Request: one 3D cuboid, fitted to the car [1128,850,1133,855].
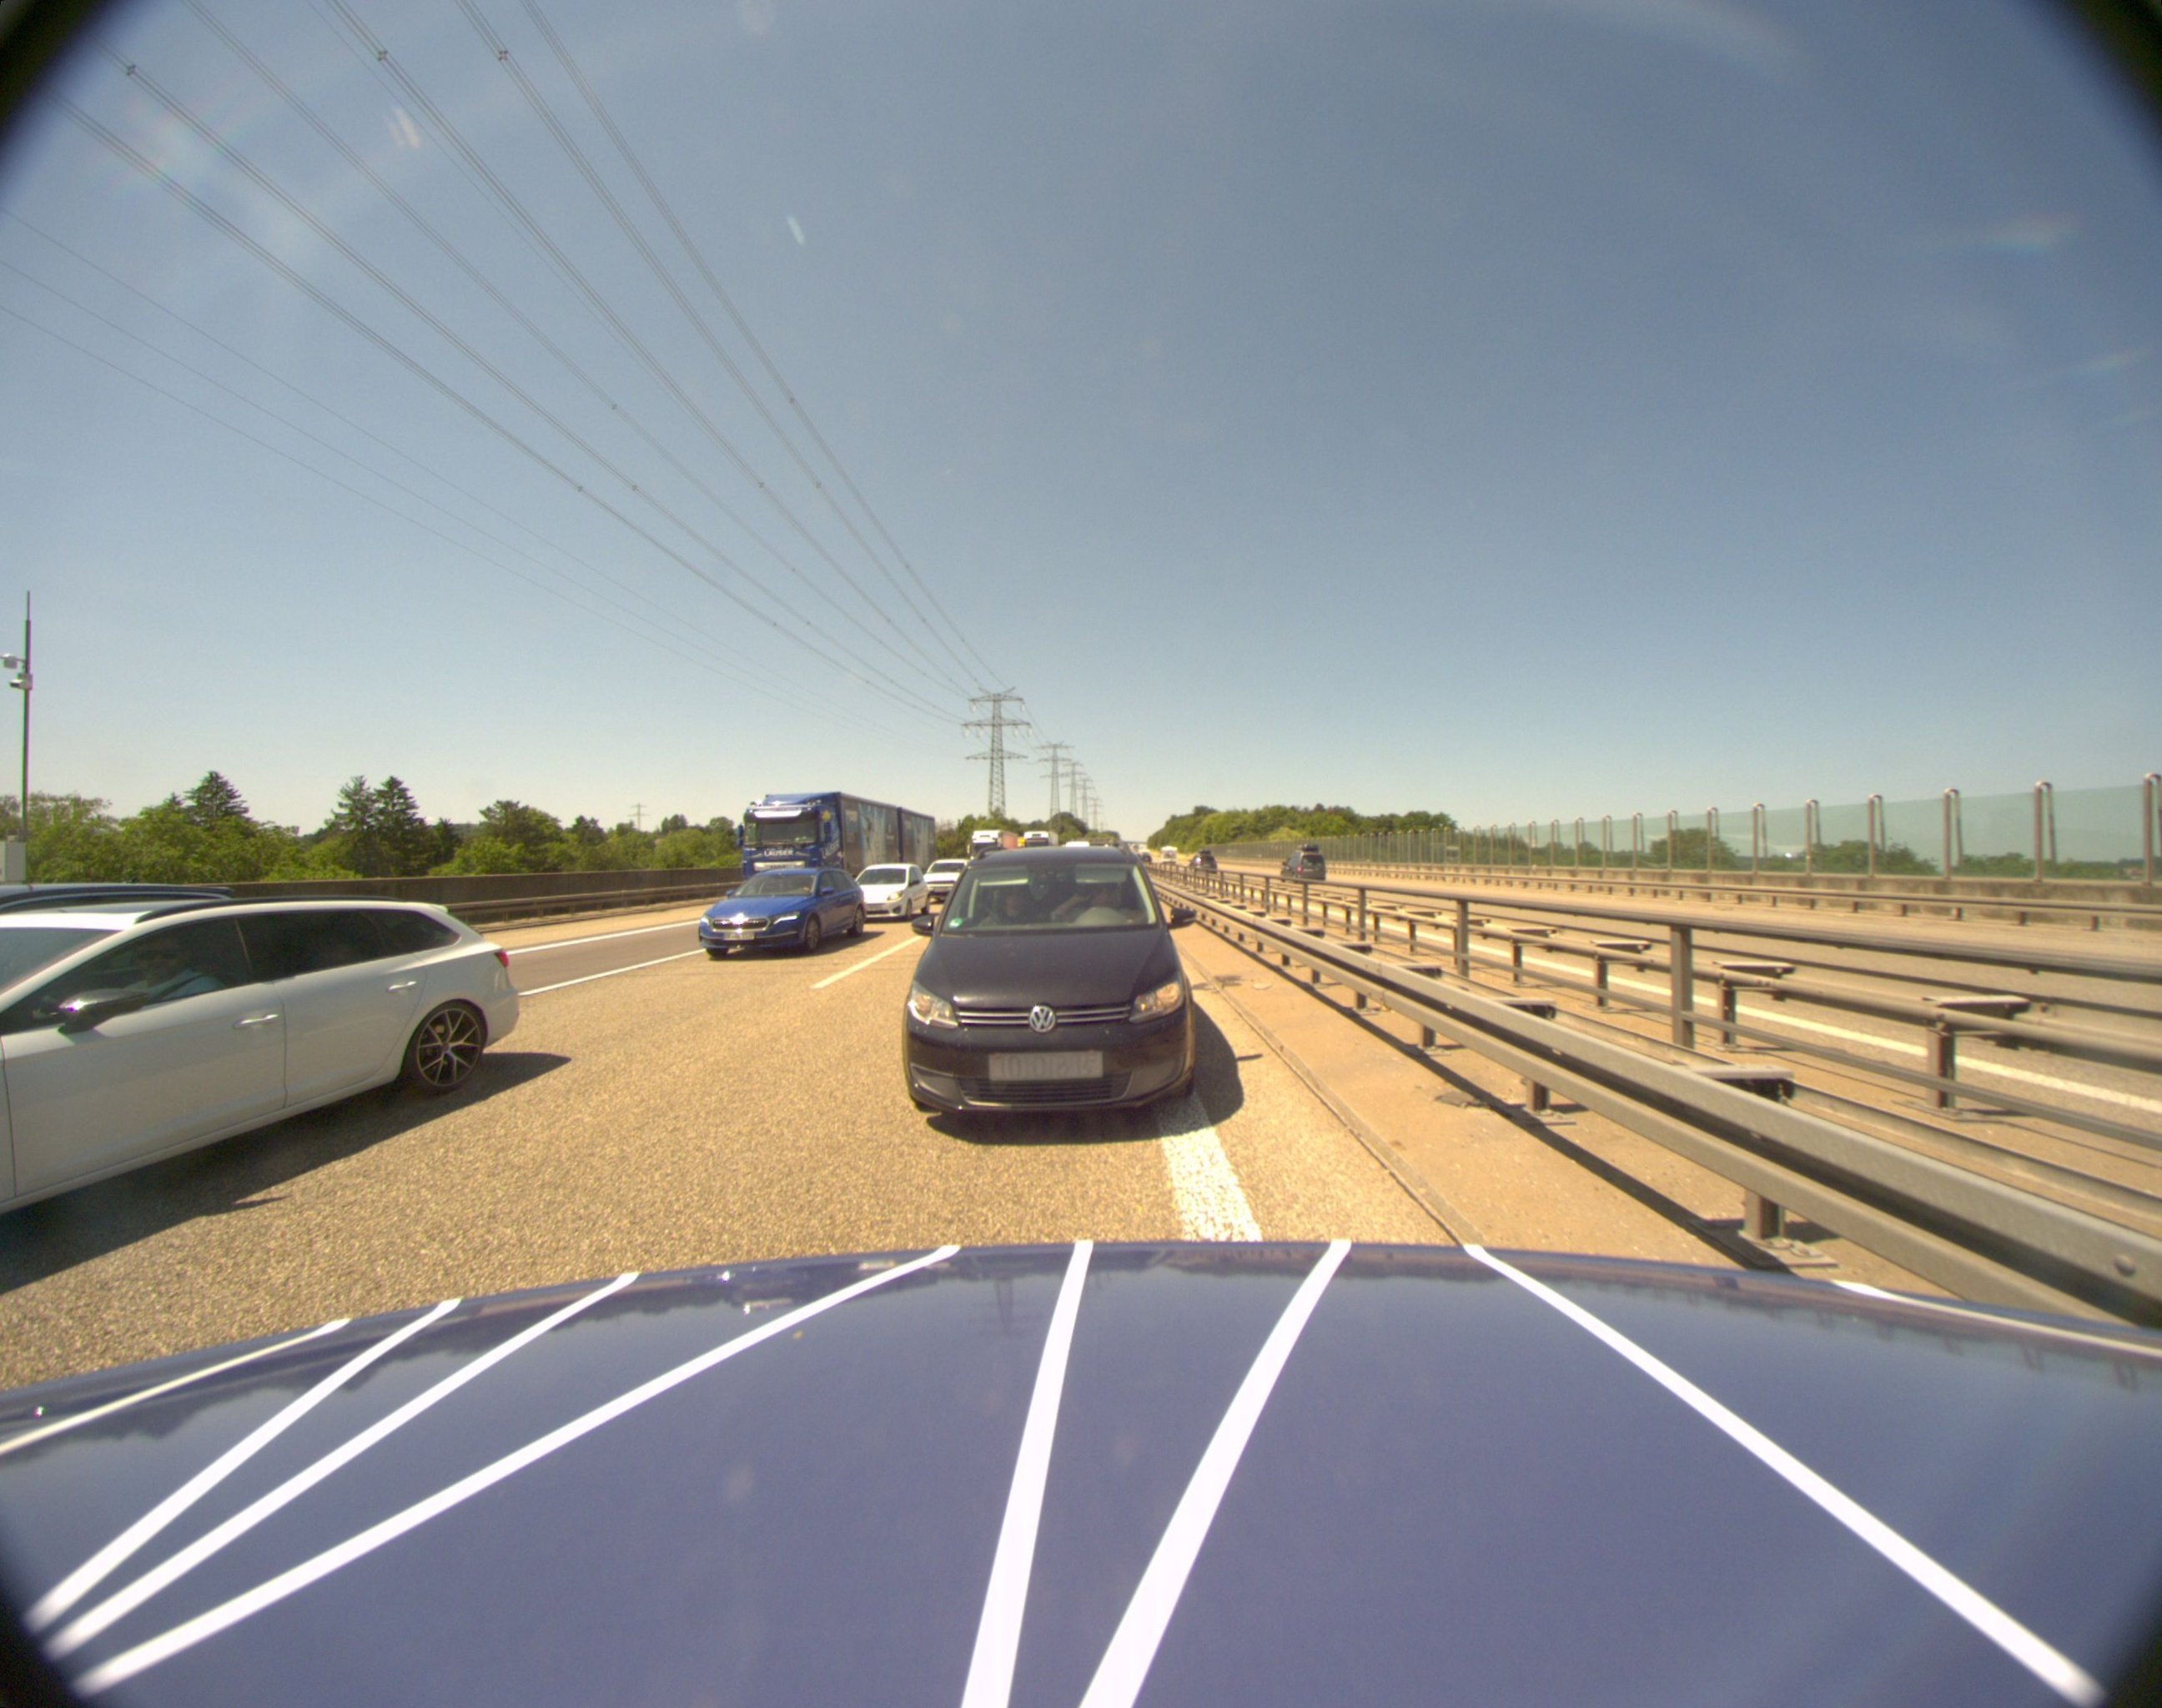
[{"bbox_3d":[16.496,-0.410,252.969,1.672,1.439,4.000,2,0,2],"label":"car"}]

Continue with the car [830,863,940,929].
[{"bbox_3d":[-5.140,1.048,20.485,1.762,1.495,4.095,-1,0,2],"label":"car"}]

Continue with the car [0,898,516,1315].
[{"bbox_3d":[-5.251,1.123,3.764,1.843,1.481,4.071,-2,0,-1],"label":"car"}]

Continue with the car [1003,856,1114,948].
[{"bbox_3d":[-0.349,0.819,15.070,1.845,1.495,4.377,-1,0,1],"label":"car"}]

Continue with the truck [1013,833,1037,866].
[{"bbox_3d":[-7.472,-0.612,101.972,2.346,4.058,8.278,-2,1,1],"label":"truck"}]

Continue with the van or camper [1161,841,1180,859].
[{"bbox_3d":[15.113,-0.671,129.137,2.428,3.006,7.026,1,0,1],"label":"van or camper"}]

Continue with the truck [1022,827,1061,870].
[{"bbox_3d":[-3.758,-0.538,75.007,2.980,3.832,10.561,-2,1,1],"label":"truck"}]

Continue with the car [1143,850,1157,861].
[{"bbox_3d":[11.215,0.266,123.380,1.872,1.690,4.430,1,0,0],"label":"car"}]

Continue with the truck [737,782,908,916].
[{"bbox_3d":[-9.139,-0.182,28.556,2.529,4.043,10.447,-1,0,1],"label":"truck"}]

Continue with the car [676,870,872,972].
[{"bbox_3d":[-5.361,1.090,13.937,1.739,1.437,4.211,-1,0,2],"label":"car"}]

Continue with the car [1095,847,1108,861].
[{"bbox_3d":[3.186,-0.039,119.336,1.998,2.002,4.000,-2,1,1],"label":"car"}]

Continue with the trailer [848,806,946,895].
[{"bbox_3d":[-8.933,-0.169,38.053,2.572,3.922,8.479,-1,0,1],"label":"trailer"}]

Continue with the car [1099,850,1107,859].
[{"bbox_3d":[4.919,0.073,171.124,1.805,2.002,4.000,-1,0,1],"label":"car"}]

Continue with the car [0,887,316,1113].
[{"bbox_3d":[-8.692,1.138,5.657,1.740,1.518,4.106,-2,0,1],"label":"car"}]

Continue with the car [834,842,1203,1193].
[{"bbox_3d":[-0.290,0.785,5.704,1.740,1.652,3.999,-2,1,0],"label":"car"}]

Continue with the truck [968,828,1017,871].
[{"bbox_3d":[-8.042,-0.396,70.236,2.985,3.538,10.967,-2,1,1],"label":"truck"}]

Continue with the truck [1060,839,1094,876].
[{"bbox_3d":[-0.215,0.207,55.211,2.284,2.479,5.861,-2,0,1],"label":"truck"}]

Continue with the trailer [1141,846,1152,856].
[{"bbox_3d":[17.631,-0.868,204.745,2.499,2.534,6.774,1,0,1],"label":"trailer"}]

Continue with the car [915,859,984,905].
[{"bbox_3d":[-4.726,0.976,27.812,1.763,1.495,4.094,-1,0,0],"label":"car"}]

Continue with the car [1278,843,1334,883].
[{"bbox_3d":[13.061,0.493,44.401,1.998,2.203,4.268,1,0,0],"label":"car"}]

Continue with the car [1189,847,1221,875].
[{"bbox_3d":[9.596,0.528,59.149,1.868,2.118,4.268,1,0,1],"label":"car"}]

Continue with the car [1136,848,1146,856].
[{"bbox_3d":[12.319,-0.470,156.185,1.872,1.523,4.424,2,0,1],"label":"car"}]
